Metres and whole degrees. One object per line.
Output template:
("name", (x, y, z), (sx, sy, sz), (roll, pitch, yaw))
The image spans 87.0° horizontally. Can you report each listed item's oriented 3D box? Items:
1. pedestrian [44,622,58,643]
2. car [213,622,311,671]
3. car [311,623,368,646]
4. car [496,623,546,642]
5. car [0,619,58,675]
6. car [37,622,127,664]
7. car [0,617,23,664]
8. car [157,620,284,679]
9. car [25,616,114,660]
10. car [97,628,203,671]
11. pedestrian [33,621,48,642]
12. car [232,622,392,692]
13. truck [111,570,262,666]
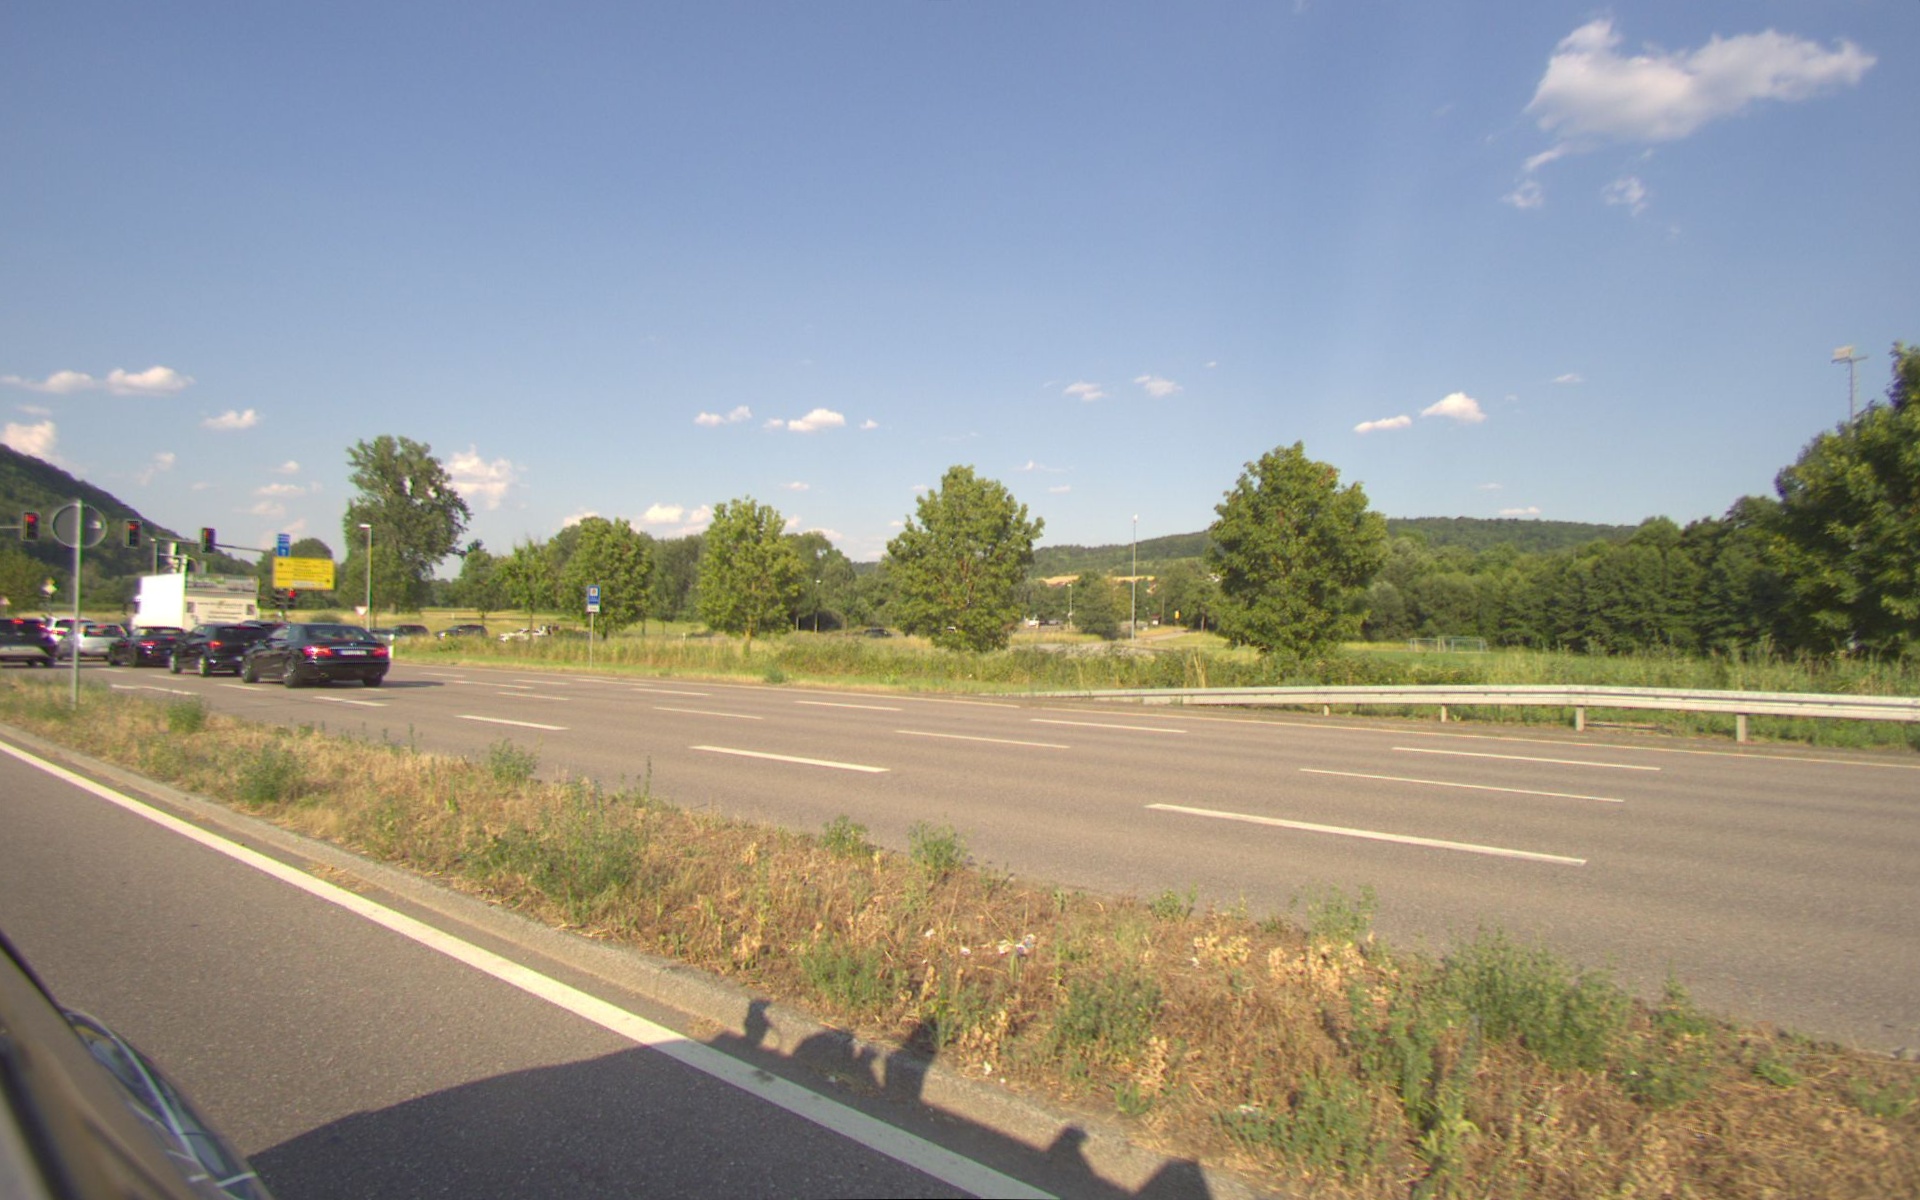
("pedestrian", (-71.114, 2.527, 79.155), (0.646, 1.618, 0.892), (0, 1, -29))
("car", (-24.369, 1.601, 35.299), (3.996, 1.541, 1.745), (0, -2, 40))
("car", (-48.923, 2.695, 79.831), (3.641, 1.630, 1.595), (-1, 1, -39))
("car", (-42.002, 3.090, 96.929), (1.588, 1.630, 4.210), (0, 1, 34))
("car", (-28.717, 1.371, 30.408), (3.996, 1.531, 1.763), (0, -2, 40))
("car", (-32.981, 1.584, 37.962), (5.076, 1.416, 1.685), (0, -2, 39))
("car", (-33.688, 1.407, 34.620), (4.566, 1.550, 1.763), (-2, -4, 39))
("car", (-20.320, 1.334, 27.755), (4.240, 1.485, 1.685), (-1, -4, 39))
("car", (-37.149, 1.559, 42.184), (4.802, 1.691, 1.974), (0, -2, 39))
("car", (-26.484, 1.572, 33.044), (4.813, 1.293, 1.685), (-1, -3, 39))
("pedestrian", (-72.148, 2.495, 79.398), (0.646, 1.618, 0.839), (0, 1, -29))
("car", (-15.119, 1.285, 23.508), (4.721, 1.475, 1.698), (-1, -4, 39))
("truck", (-33.706, 0.739, 43.875), (10.493, 3.718, 2.902), (0, -3, 41))
